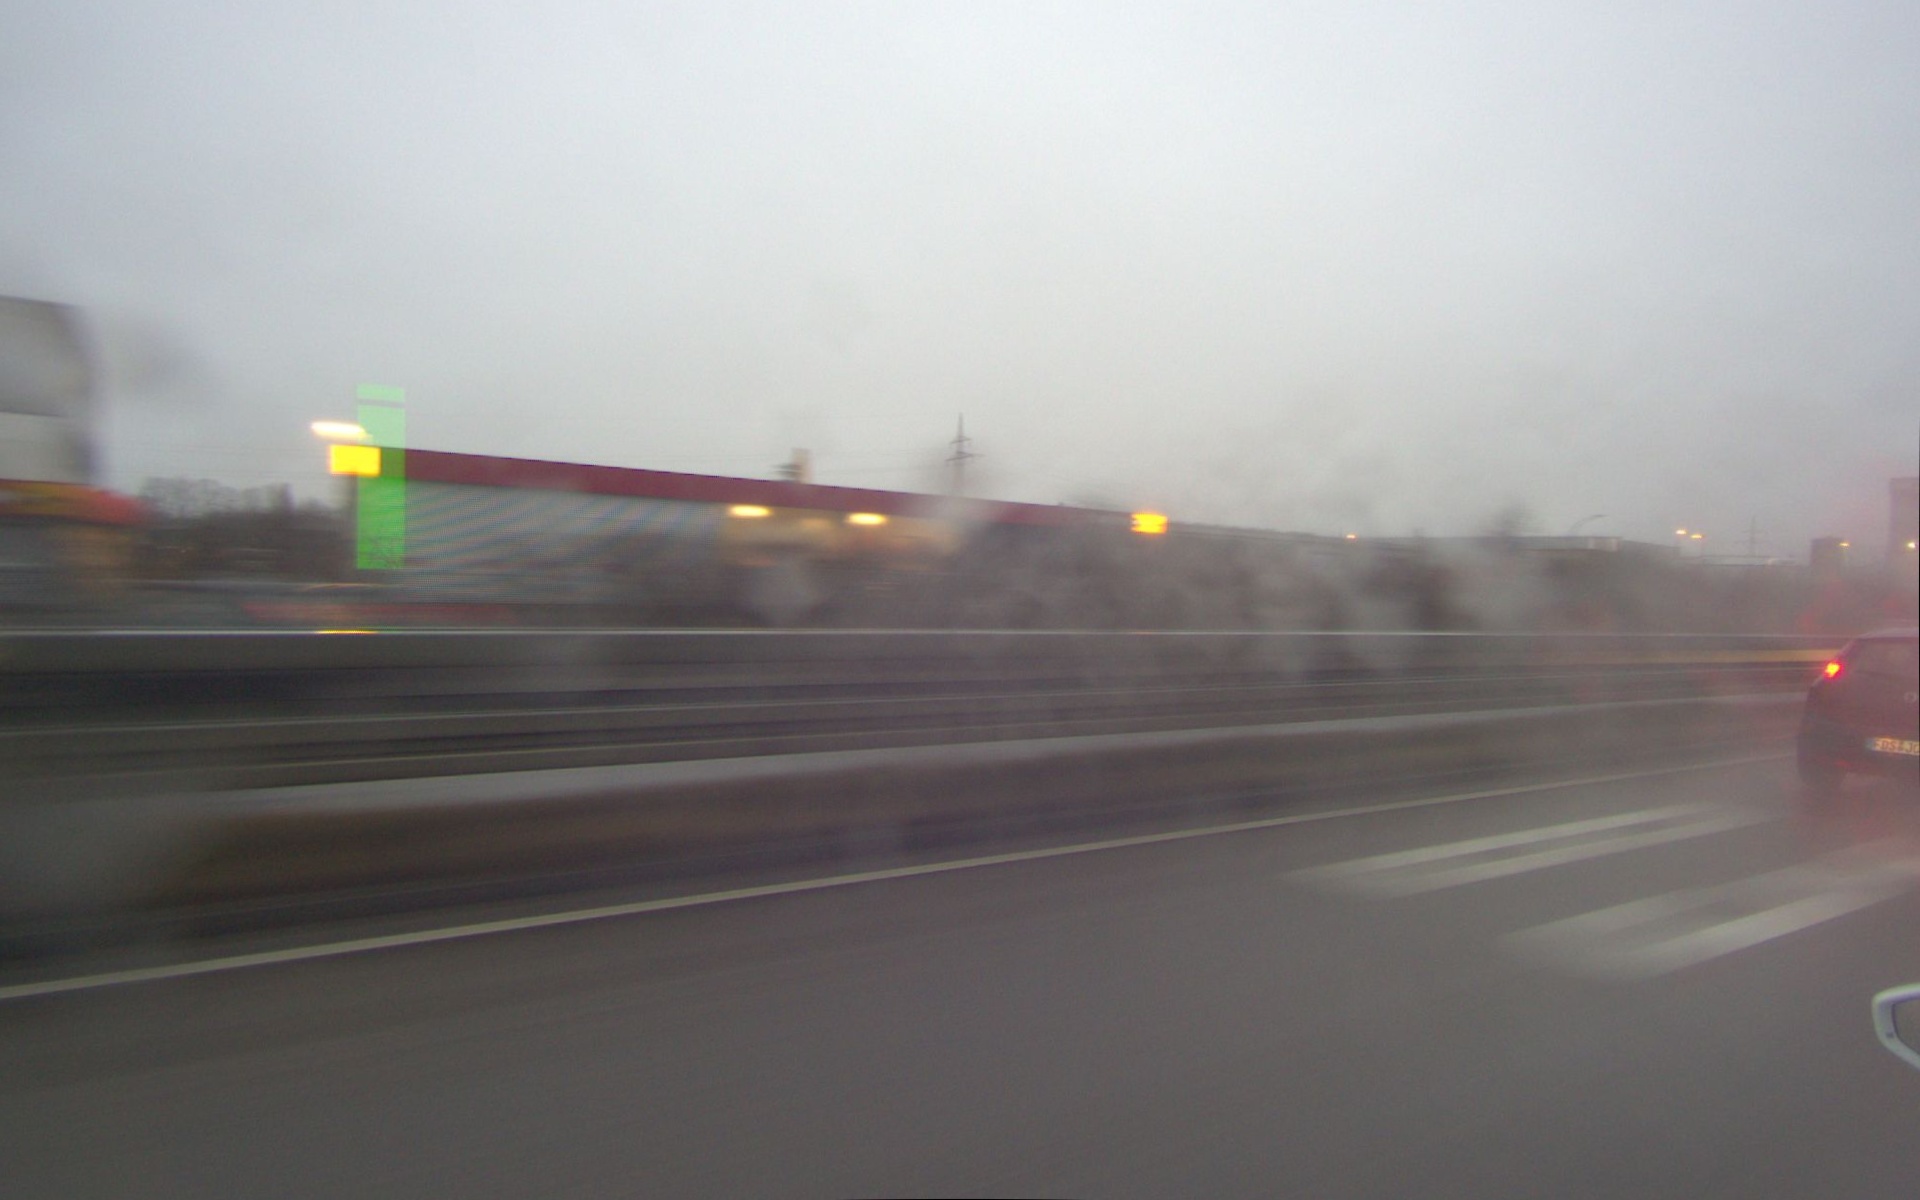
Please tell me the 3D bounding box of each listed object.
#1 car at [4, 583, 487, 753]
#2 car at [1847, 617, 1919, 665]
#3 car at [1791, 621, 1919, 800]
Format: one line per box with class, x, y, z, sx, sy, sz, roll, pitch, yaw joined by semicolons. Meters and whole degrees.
car;-7.370;0.656;10.856;3.953;1.528;1.728;2;1;-30
car;32.828;1.427;34.976;3.953;1.528;1.728;2;1;-30
car;9.489;0.972;9.249;3.955;1.411;1.617;2;1;-32
